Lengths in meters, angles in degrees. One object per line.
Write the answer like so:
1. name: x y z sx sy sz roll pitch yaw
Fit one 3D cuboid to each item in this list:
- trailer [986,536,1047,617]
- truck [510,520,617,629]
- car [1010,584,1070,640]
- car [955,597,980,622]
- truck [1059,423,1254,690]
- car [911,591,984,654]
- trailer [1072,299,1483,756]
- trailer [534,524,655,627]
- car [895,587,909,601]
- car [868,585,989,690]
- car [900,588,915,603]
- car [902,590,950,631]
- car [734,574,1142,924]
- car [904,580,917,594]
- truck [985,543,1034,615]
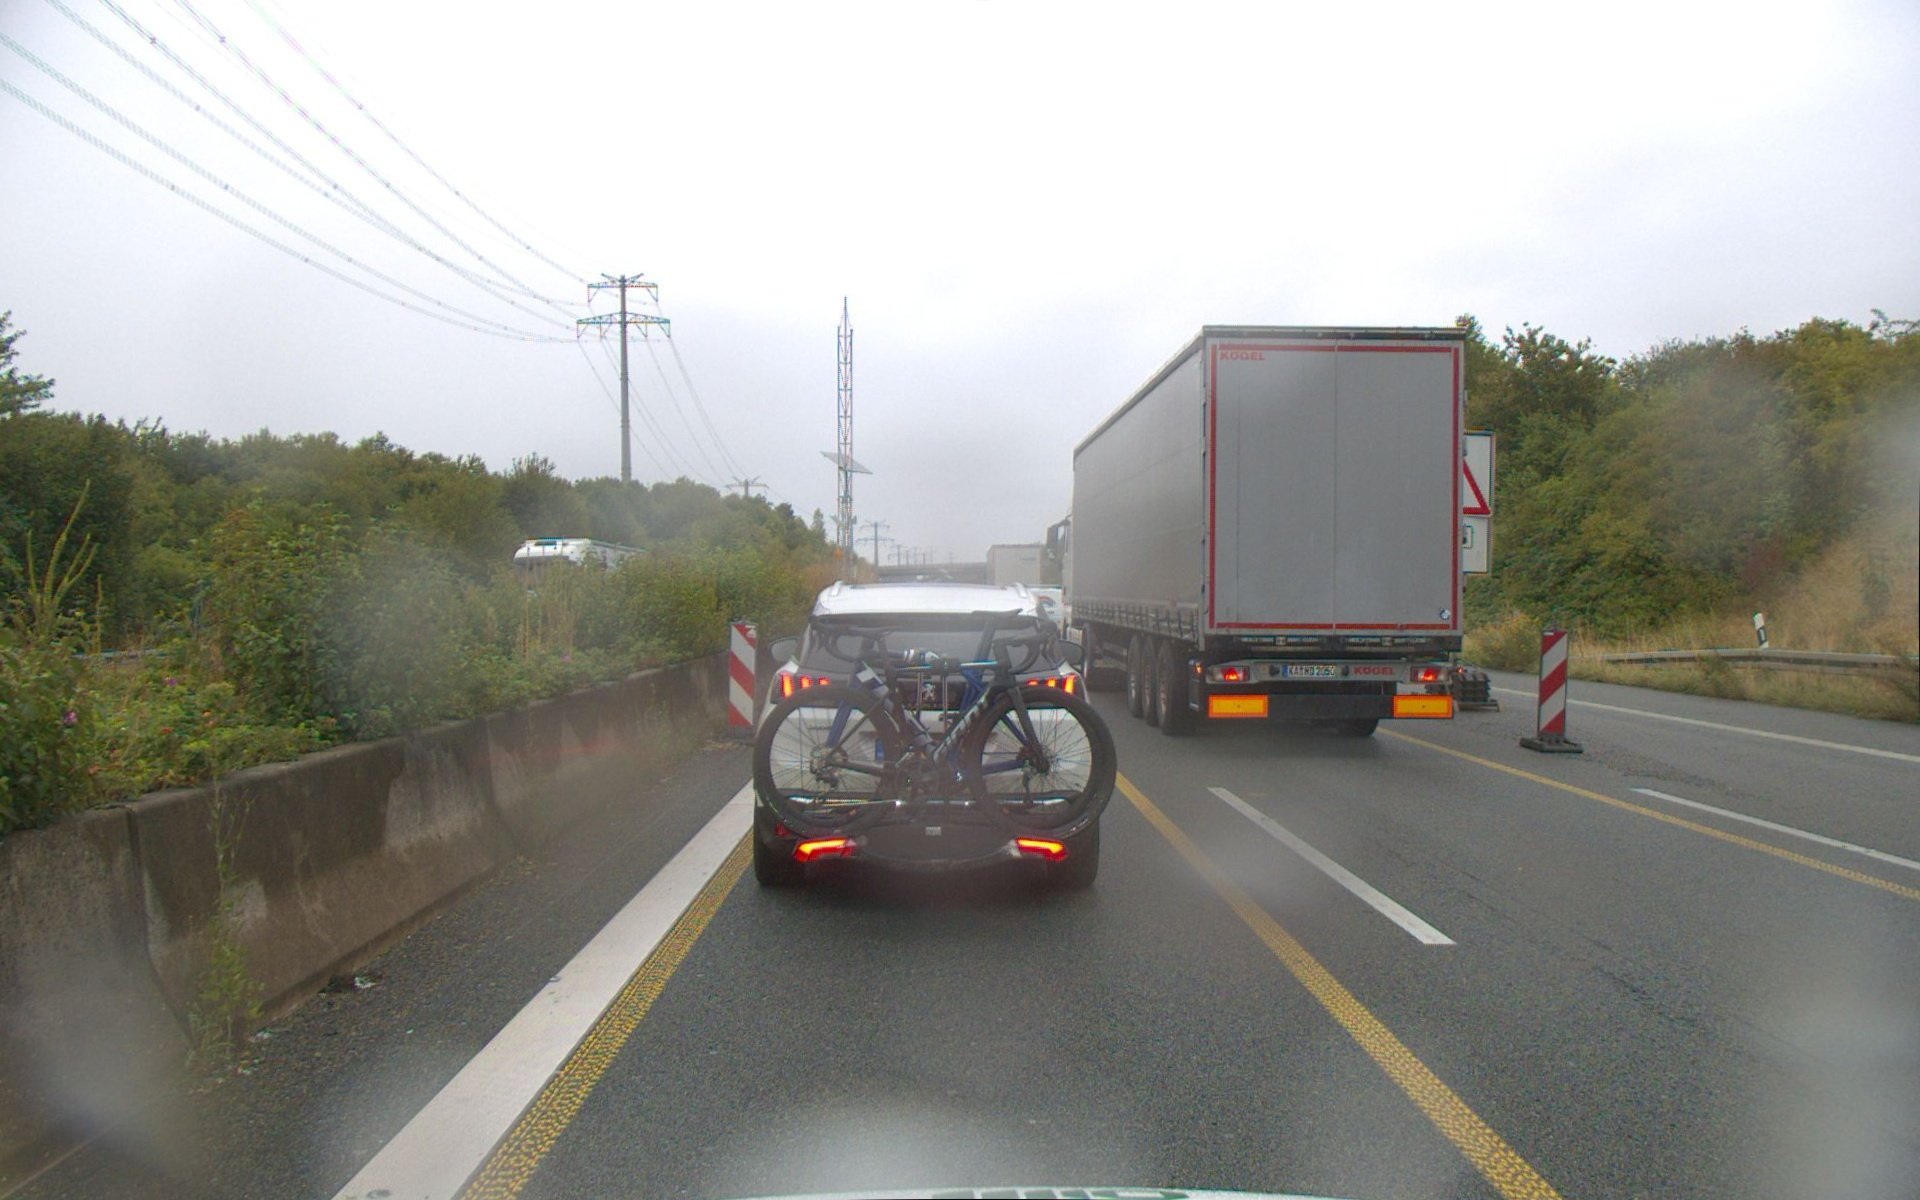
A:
1. trailer: 3.001 -1.209 91.679 2.638 4.148 13.630 0 0 -1
2. truck: -15.758 -0.978 66.277 2.729 4.094 7.231 0 0 -2
3. car: 2.750 0.386 57.673 1.792 1.871 4.654 0 0 -1
4. car: 0.611 0.786 141.163 2.067 2.008 4.000 0 1 -1
5. truck: 3.279 -0.693 29.038 2.651 4.211 5.689 0 0 -1
6. car: -0.338 0.558 43.425 1.812 1.557 3.999 0 0 -1
7. trailer: 3.405 -0.687 22.179 2.651 4.218 13.729 0 0 -1
8. trailer: -15.897 -1.006 72.963 2.729 4.094 13.247 0 0 -2
9. car: -8.358 -0.863 238.706 1.892 1.944 4.000 0 1 -1
10. car: -0.508 0.553 26.796 1.812 1.557 3.999 0 0 -1
11. car: -7.003 -0.620 220.856 1.892 2.008 4.000 0 1 -1
12. car: -1.323 0.402 65.139 1.812 1.557 3.999 0 0 -1
13. car: -0.135 0.660 9.769 1.812 1.557 4.767 0 0 -1
14. car: -7.515 -1.951 251.111 1.892 2.008 4.000 0 1 -1
15. truck: 2.907 -1.215 98.214 2.606 4.148 6.537 0 0 -1
